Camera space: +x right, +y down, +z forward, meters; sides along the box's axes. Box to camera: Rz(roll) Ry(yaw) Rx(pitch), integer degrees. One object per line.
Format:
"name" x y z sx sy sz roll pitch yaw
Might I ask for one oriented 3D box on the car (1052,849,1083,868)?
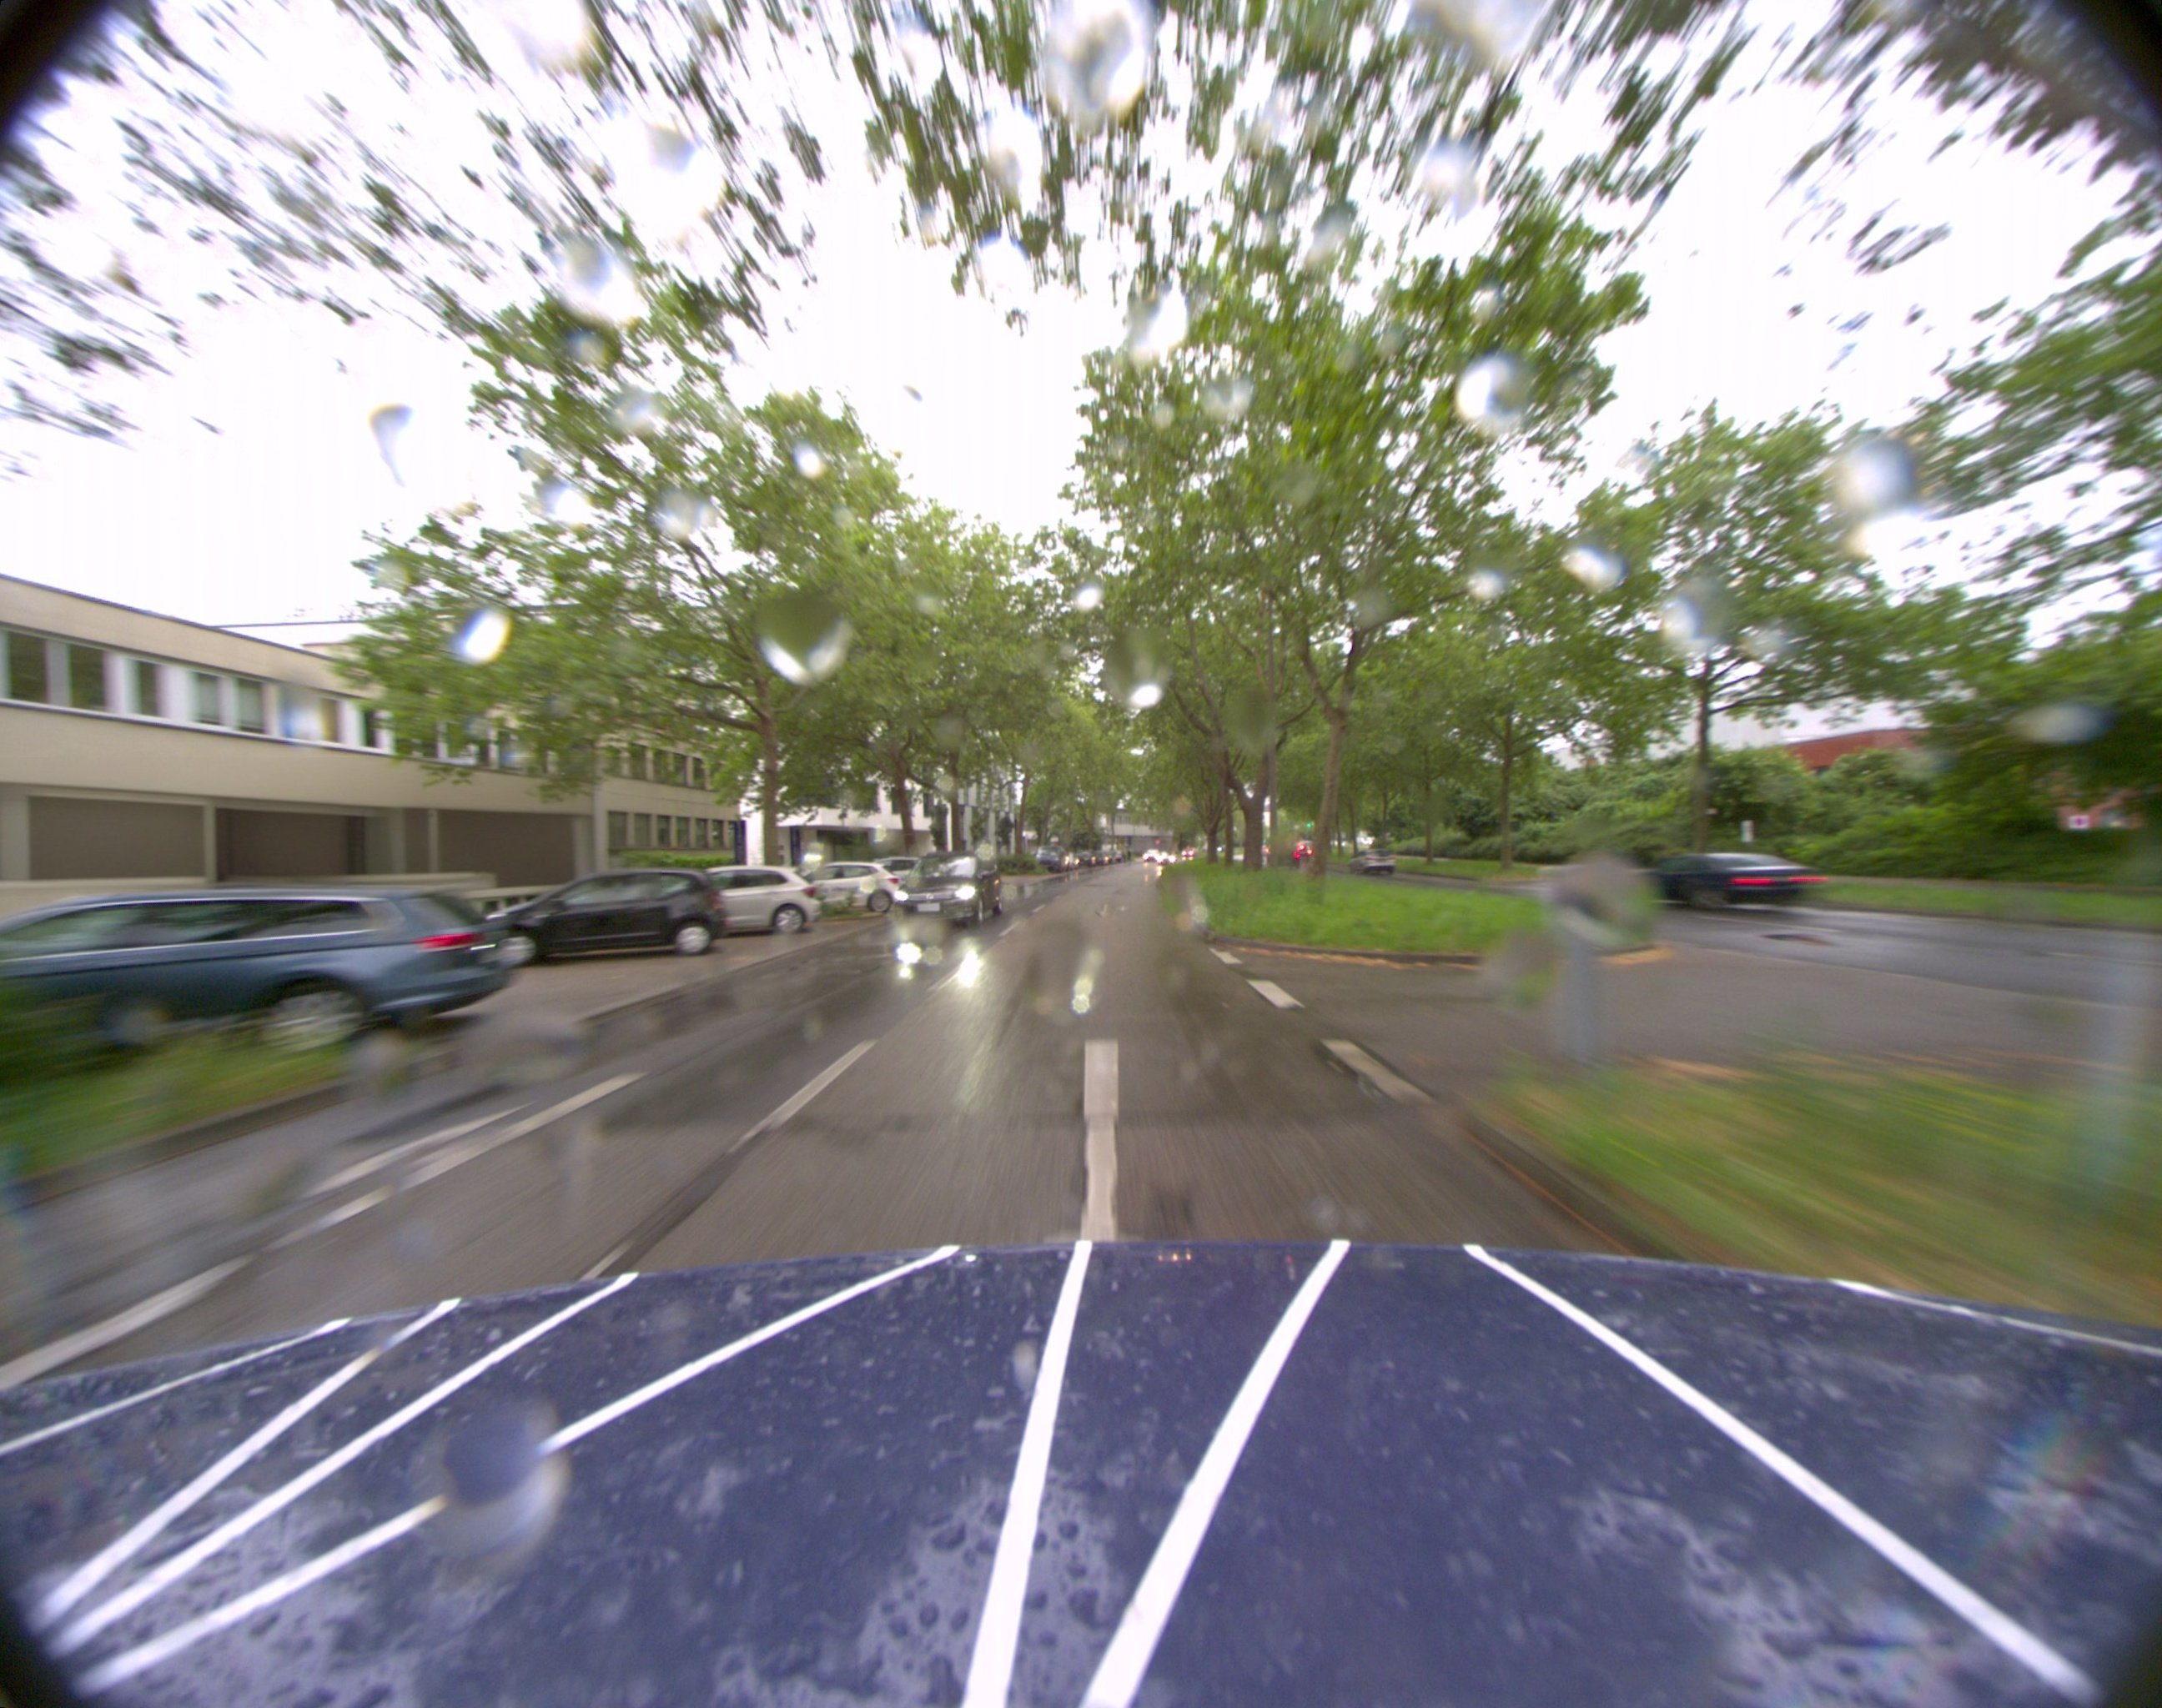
"car" -1.055 0.377 63.313 1.746 1.461 4.308 -1 1 10

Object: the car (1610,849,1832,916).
"car" 15.514 0.650 18.806 1.748 1.430 4.445 -2 -1 1

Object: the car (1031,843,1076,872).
"car" -1.996 0.188 57.171 2.125 2.016 5.531 -1 1 10

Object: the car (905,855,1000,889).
"car" -6.031 0.808 35.740 4.043 1.420 1.745 -2 1 -25

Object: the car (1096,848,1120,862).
"car" 2.962 0.068 82.658 1.746 1.420 5.107 -1 1 12

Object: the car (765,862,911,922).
"car" -6.782 1.013 21.264 3.696 1.408 1.746 -2 1 -21

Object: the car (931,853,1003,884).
"car" -6.016 0.764 40.234 3.647 1.496 1.748 -1 0 -9

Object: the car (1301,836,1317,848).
"car" 43.831 -2.339 145.828 2.031 2.213 5.443 -1 1 27

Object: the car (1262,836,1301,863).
"car" 14.650 -0.342 55.762 1.747 1.831 5.121 -2 1 4

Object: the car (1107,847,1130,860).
"car" 4.422 -0.052 89.055 1.745 1.420 4.864 1 1 15

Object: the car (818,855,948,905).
"car" -6.906 0.856 26.547 4.043 1.530 1.745 -2 1 -27

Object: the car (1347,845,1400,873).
"car" 17.109 0.254 44.674 1.747 1.468 4.235 -2 1 4

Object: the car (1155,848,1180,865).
"car" 8.890 0.245 77.859 1.997 1.620 4.525 -2 1 12

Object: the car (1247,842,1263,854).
"car" 23.663 -0.807 103.501 1.746 1.582 4.332 -2 1 8

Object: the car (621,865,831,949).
"car" -7.269 1.019 15.785 3.697 1.408 1.772 -2 1 -25

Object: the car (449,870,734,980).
"car" -7.787 1.061 12.539 3.697 1.408 1.745 -2 1 -25

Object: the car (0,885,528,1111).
"car" -7.743 1.130 6.521 4.501 1.450 1.745 -2 1 -23

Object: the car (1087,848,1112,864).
"car" 1.909 0.173 76.653 1.746 1.468 4.086 -1 1 13

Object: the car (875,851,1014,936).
"car" -2.984 0.782 18.046 1.998 1.585 5.589 -2 1 3

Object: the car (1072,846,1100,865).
"car" 0.489 0.125 69.745 1.746 1.557 4.374 -1 1 10

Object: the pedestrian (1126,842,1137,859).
"pedestrian" 5.972 -0.367 90.195 0.901 2.002 0.831 -2 1 -23
